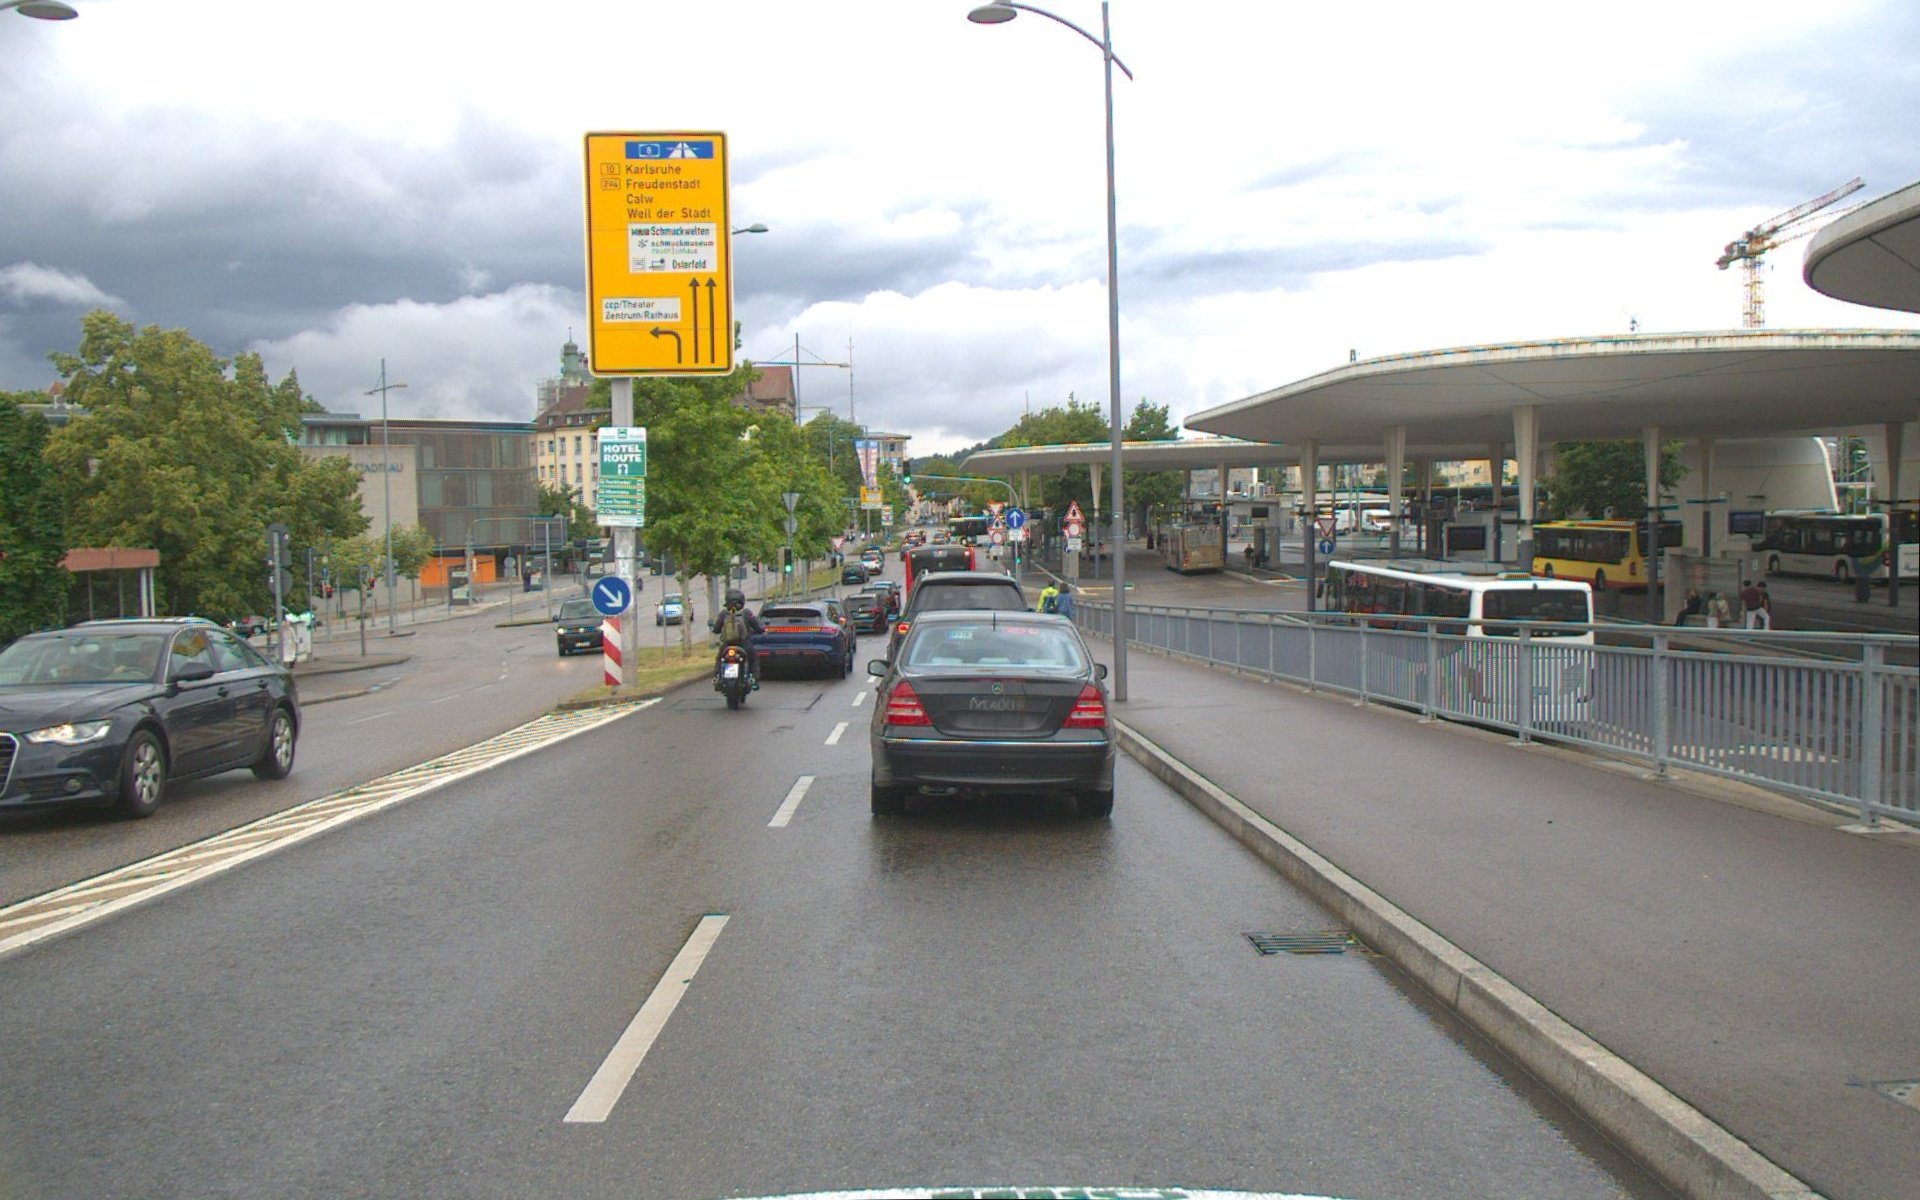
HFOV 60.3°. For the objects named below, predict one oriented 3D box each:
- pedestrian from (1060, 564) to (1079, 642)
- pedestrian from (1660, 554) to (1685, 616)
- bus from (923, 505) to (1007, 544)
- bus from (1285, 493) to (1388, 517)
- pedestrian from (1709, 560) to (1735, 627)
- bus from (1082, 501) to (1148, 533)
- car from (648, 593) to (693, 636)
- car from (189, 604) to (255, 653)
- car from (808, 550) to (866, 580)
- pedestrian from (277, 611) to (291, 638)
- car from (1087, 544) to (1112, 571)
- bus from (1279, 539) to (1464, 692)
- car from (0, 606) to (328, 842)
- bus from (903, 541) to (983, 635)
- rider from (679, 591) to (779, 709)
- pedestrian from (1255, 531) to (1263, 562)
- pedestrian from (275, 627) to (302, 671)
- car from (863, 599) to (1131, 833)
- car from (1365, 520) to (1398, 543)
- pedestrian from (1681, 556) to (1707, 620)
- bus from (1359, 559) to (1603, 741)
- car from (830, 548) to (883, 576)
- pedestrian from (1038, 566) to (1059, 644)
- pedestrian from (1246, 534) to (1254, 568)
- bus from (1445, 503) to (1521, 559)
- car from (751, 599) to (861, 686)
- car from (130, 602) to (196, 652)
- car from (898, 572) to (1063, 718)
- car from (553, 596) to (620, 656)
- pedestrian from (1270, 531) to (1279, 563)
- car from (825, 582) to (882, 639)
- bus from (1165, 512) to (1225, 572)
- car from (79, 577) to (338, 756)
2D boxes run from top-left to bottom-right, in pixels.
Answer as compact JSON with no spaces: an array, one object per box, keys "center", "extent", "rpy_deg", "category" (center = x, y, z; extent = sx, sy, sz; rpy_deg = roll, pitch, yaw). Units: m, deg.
[{"center":[2.896,0.075,43.798],"extent":[0.415,2.049,0.483],"rpy_deg":[-2,-2,1],"category":"pedestrian"},{"center":[23.680,-0.504,54.956],"extent":[0.532,2.049,0.579],"rpy_deg":[-2,1,0],"category":"pedestrian"},{"center":[0.516,-8.424,182.711],"extent":[3.235,4.076,10.743],"rpy_deg":[-5,5,-38],"category":"bus"},{"center":[38.152,-9.644,167.804],"extent":[9.967,2.048,2.168],"rpy_deg":[-2,1,-4],"category":"bus"},{"center":[23.483,-0.196,50.991],"extent":[0.549,2.049,0.483],"rpy_deg":[-2,1,1],"category":"pedestrian"},{"center":[17.609,-9.410,188.363],"extent":[7.057,3.455,3.079],"rpy_deg":[-2,2,-5],"category":"bus"},{"center":[-14.500,0.743,83.006],"extent":[1.956,2.049,4.195],"rpy_deg":[-2,0,-7],"category":"car"},{"center":[-35.383,1.368,79.288],"extent":[1.979,2.048,3.948],"rpy_deg":[3,1,-37],"category":"car"},{"center":[-8.871,-2.554,119.282],"extent":[3.903,2.048,2.001],"rpy_deg":[-2,1,3],"category":"car"},{"center":[-22.593,0.815,55.268],"extent":[0.294,0.888,0.298],"rpy_deg":[-2,2,2],"category":"pedestrian"},{"center":[11.061,-3.402,131.216],"extent":[1.951,2.048,4.003],"rpy_deg":[-1,1,5],"category":"car"},{"center":[10.471,0.235,42.835],"extent":[2.594,3.291,7.069],"rpy_deg":[-2,4,-4],"category":"bus"},{"center":[-6.831,0.869,13.478],"extent":[1.797,1.553,4.591],"rpy_deg":[-2,0,-4],"category":"car"},{"center":[-0.668,-0.465,62.387],"extent":[2.770,3.245,10.307],"rpy_deg":[0,1,-1],"category":"bus"},{"center":[-3.121,0.640,22.564],"extent":[0.862,1.497,2.197],"rpy_deg":[1,1,5],"category":"rider"},{"center":[19.871,-3.574,109.827],"extent":[0.415,2.049,0.483],"rpy_deg":[-2,1,1],"category":"pedestrian"},{"center":[-22.482,1.628,55.382],"extent":[0.634,1.433,0.531],"rpy_deg":[-2,2,2],"category":"pedestrian"},{"center":[0.293,0.723,12.203],"extent":[1.670,1.444,3.726],"rpy_deg":[0,0,2],"category":"car"},{"center":[39.582,-6.419,155.393],"extent":[1.953,2.048,4.000],"rpy_deg":[-2,2,-1],"category":"car"},{"center":[23.697,-0.387,53.418],"extent":[0.532,2.049,0.579],"rpy_deg":[-2,1,0],"category":"pedestrian"},{"center":[11.004,0.891,35.739],"extent":[2.594,3.292,7.067],"rpy_deg":[-2,3,-4],"category":"bus"},{"center":[-8.102,-2.995,129.737],"extent":[3.903,2.048,2.001],"rpy_deg":[-2,1,3],"category":"car"},{"center":[2.343,0.130,43.755],"extent":[0.479,2.049,0.470],"rpy_deg":[-2,-2,1],"category":"pedestrian"},{"center":[17.942,-3.023,102.348],"extent":[0.415,2.049,0.483],"rpy_deg":[-2,1,1],"category":"pedestrian"},{"center":[32.245,-4.245,102.230],"extent":[2.546,3.265,6.996],"rpy_deg":[-2,2,1],"category":"bus"},{"center":[-2.810,0.748,30.892],"extent":[1.724,1.461,4.000],"rpy_deg":[0,1,-1],"category":"car"},{"center":[-37.373,1.268,77.494],"extent":[1.979,2.048,3.948],"rpy_deg":[3,1,-37],"category":"car"},{"center":[0.358,0.496,21.568],"extent":[1.788,1.716,4.003],"rpy_deg":[0,1,6],"category":"car"},{"center":[-13.662,0.947,60.684],"extent":[1.956,2.049,4.195],"rpy_deg":[-2,0,-7],"category":"car"},{"center":[20.241,-3.410,106.379],"extent":[0.415,2.049,0.483],"rpy_deg":[-2,-2,1],"category":"pedestrian"},{"center":[-3.956,0.353,61.839],"extent":[1.953,2.041,3.999],"rpy_deg":[0,1,-1],"category":"car"},{"center":[15.456,-3.761,109.510],"extent":[3.112,3.663,10.515],"rpy_deg":[-1,1,4],"category":"bus"},{"center":[-9.650,0.772,21.598],"extent":[1.956,2.049,3.993],"rpy_deg":[-2,0,-8],"category":"car"}]
